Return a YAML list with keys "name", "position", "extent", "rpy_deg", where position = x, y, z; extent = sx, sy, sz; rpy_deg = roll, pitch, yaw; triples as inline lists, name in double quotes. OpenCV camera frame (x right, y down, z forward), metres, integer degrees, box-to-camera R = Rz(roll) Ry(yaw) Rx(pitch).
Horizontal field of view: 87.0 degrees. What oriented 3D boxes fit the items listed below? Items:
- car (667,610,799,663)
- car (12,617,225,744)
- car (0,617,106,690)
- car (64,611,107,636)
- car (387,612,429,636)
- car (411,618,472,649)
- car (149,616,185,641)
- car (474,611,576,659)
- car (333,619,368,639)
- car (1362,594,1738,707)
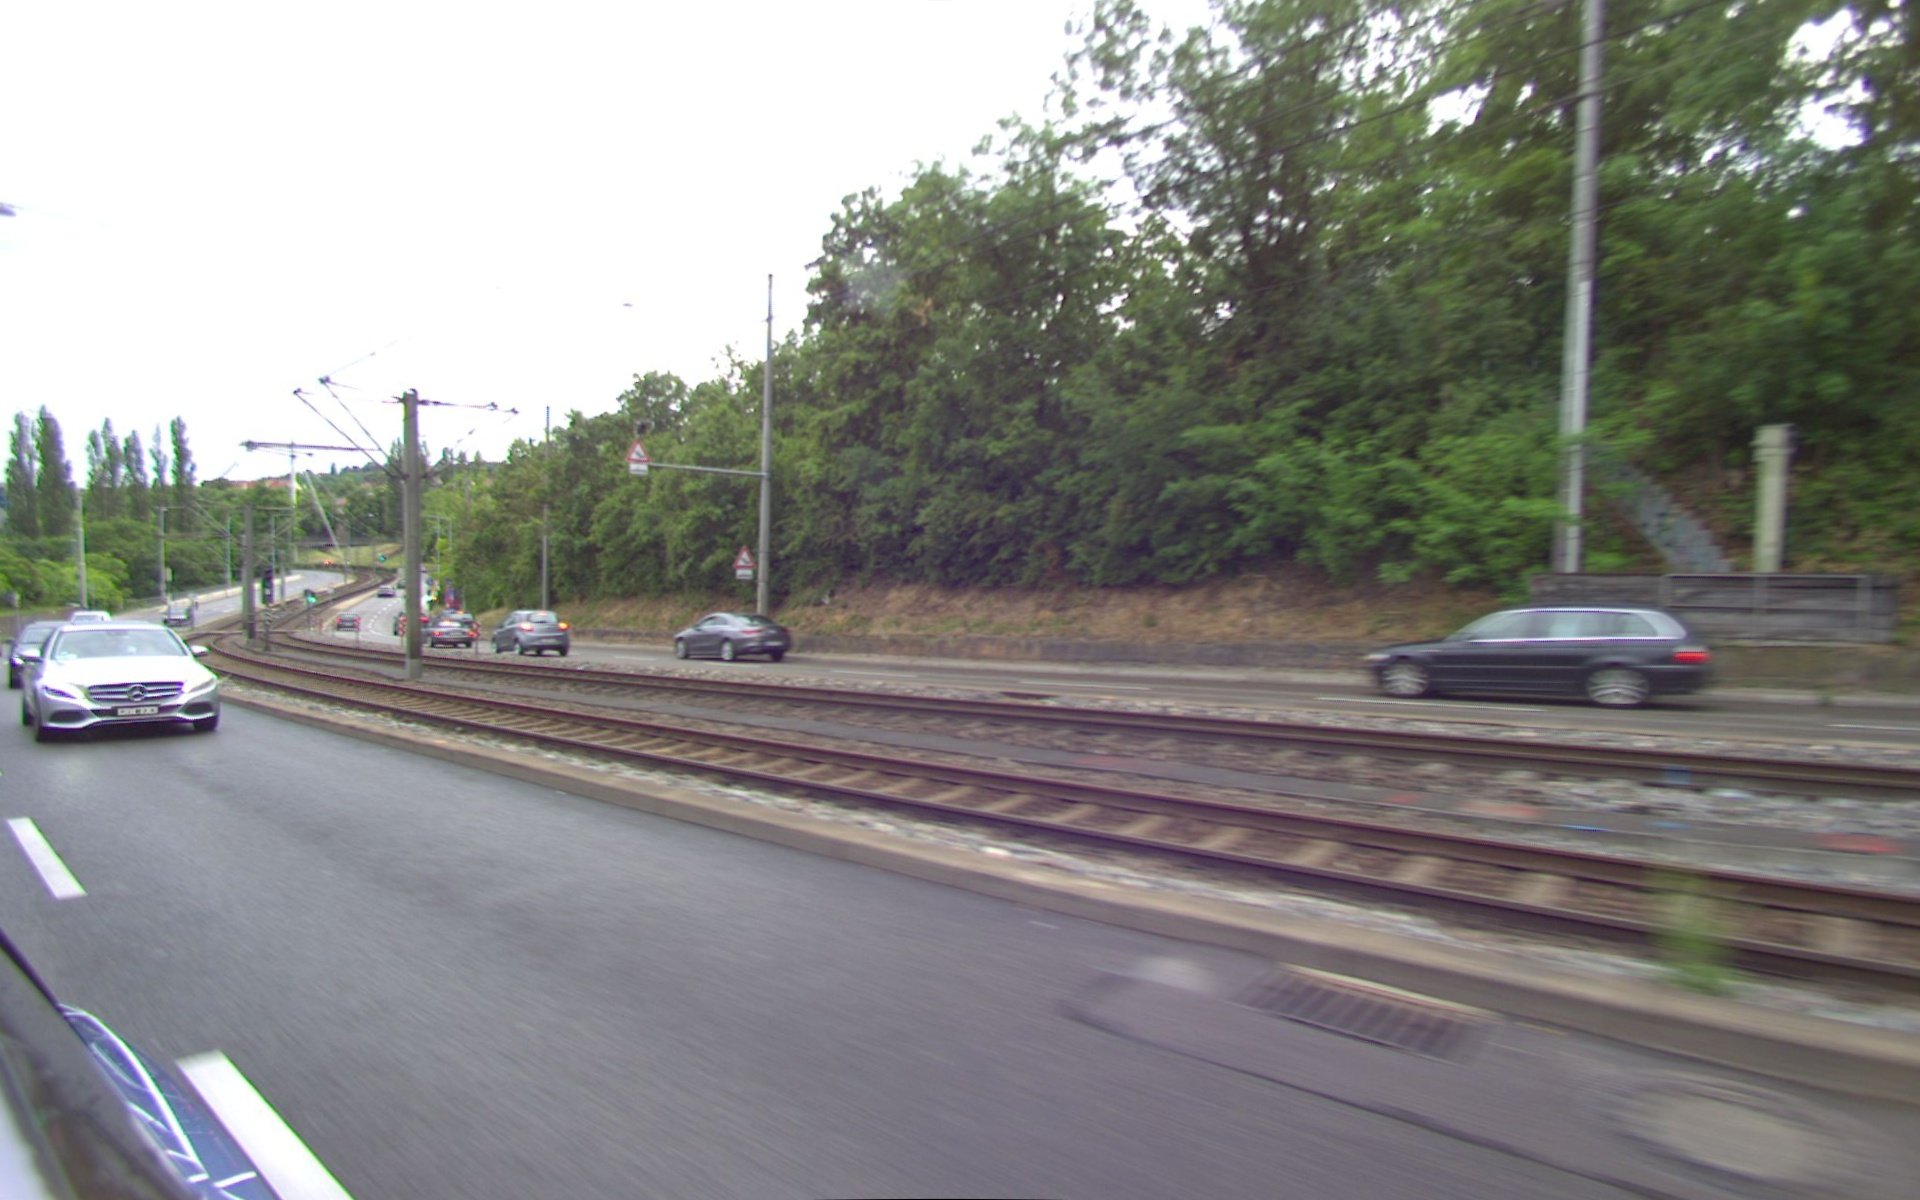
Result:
- name: "car"
  position: [-6.728, 1.039, 29.716]
  extent: [1.780, 1.434, 4.466]
  rpy_deg: [1, -2, -43]
- name: "car"
  position: [-11.400, 0.943, 13.600]
  extent: [1.835, 1.413, 4.317]
  rpy_deg: [0, -1, -45]
- name: "car"
  position: [-20.911, 1.166, 23.358]
  extent: [1.704, 1.482, 3.892]
  rpy_deg: [-1, 0, -42]
- name: "car"
  position: [-64.299, 1.727, 74.462]
  extent: [1.781, 1.521, 4.011]
  rpy_deg: [-2, 4, -33]
- name: "car"
  position: [-37.156, 1.590, 68.050]
  extent: [1.967, 1.469, 4.473]
  rpy_deg: [-1, 0, -35]
- name: "car"
  position: [-21.998, 1.392, 42.868]
  extent: [1.641, 1.209, 4.473]
  rpy_deg: [-1, 0, -36]
- name: "car"
  position: [-70.048, 2.488, 89.411]
  extent: [1.966, 2.029, 4.507]
  rpy_deg: [-1, 0, -32]
- name: "car"
  position: [-14.552, 1.125, 33.734]
  extent: [1.882, 1.469, 4.469]
  rpy_deg: [0, -1, -41]
- name: "car"
  position: [-49.073, 2.345, 81.391]
  extent: [2.179, 1.469, 4.474]
  rpy_deg: [-1, 0, -34]
- name: "car"
  position: [8.434, 0.660, 14.707]
  extent: [4.450, 1.392, 1.874]
  rpy_deg: [-1, -1, 41]
